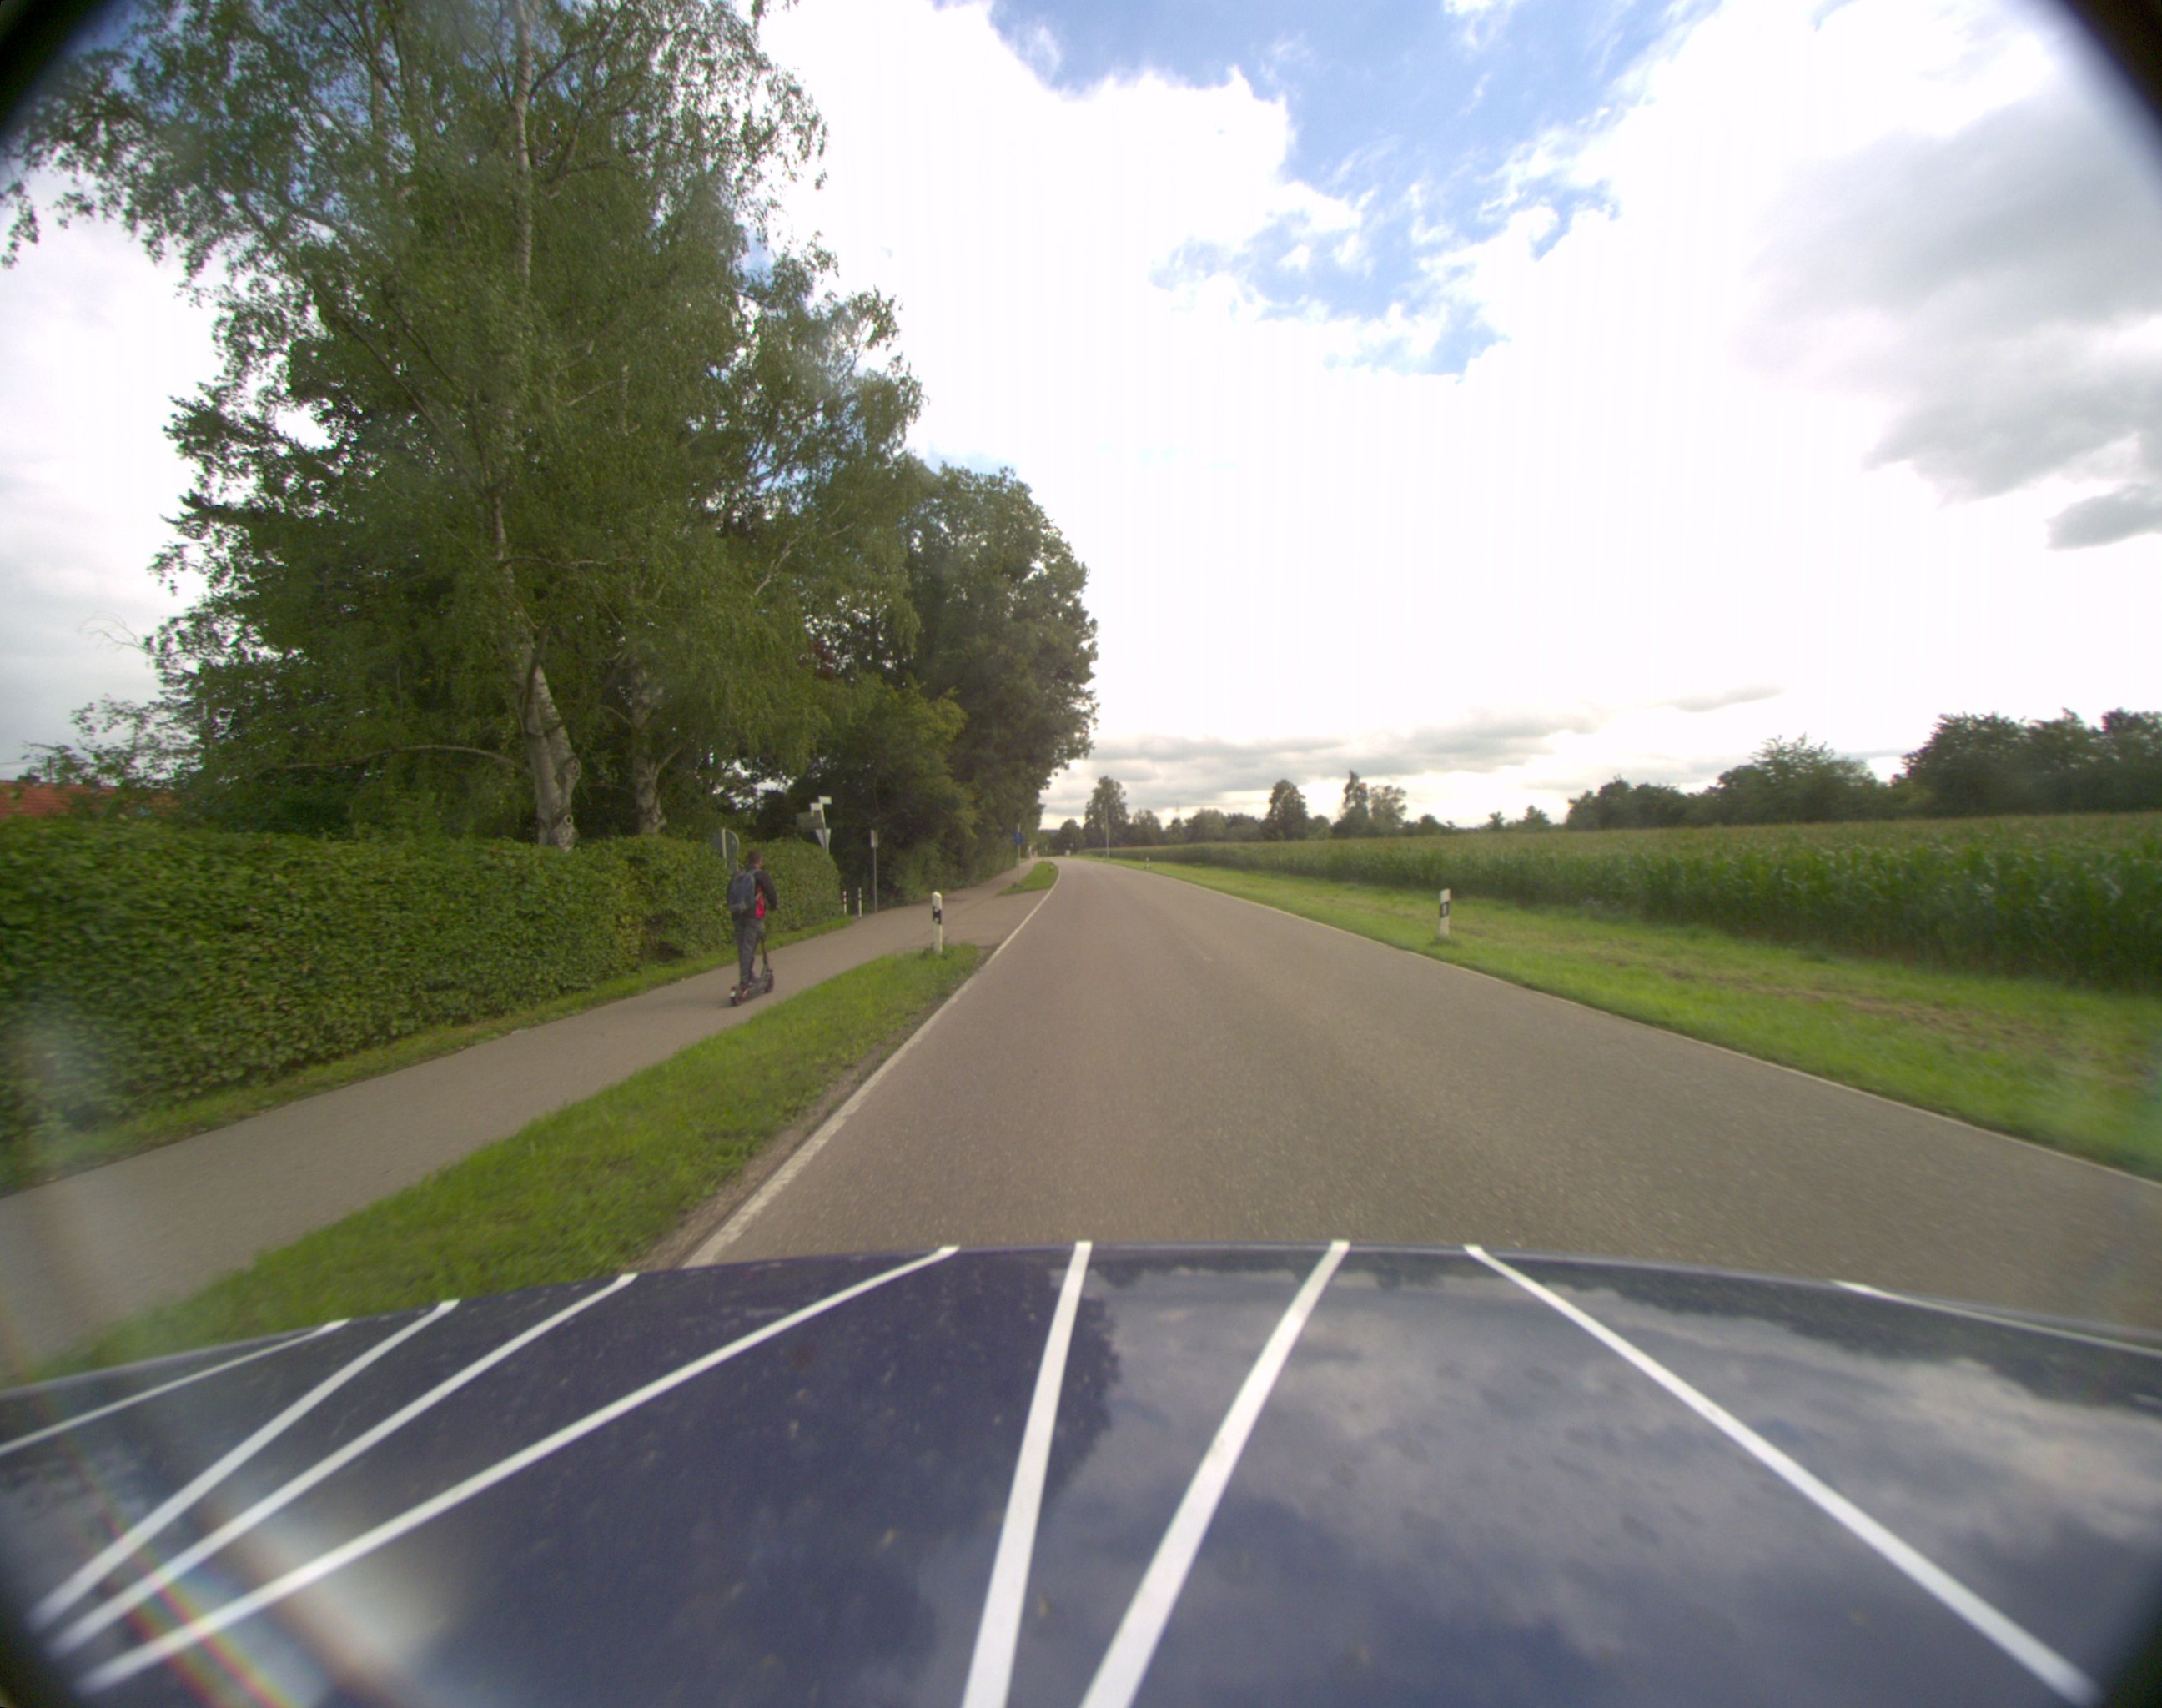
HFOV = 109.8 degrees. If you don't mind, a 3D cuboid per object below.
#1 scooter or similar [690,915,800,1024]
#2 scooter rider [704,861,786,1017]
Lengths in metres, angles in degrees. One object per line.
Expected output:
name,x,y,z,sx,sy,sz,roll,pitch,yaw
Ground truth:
scooter or similar,-4.412,1.480,10.118,0.650,1.157,1.695,-2,1,1
scooter rider,-4.436,1.085,10.080,0.644,1.954,0.786,-2,1,1
